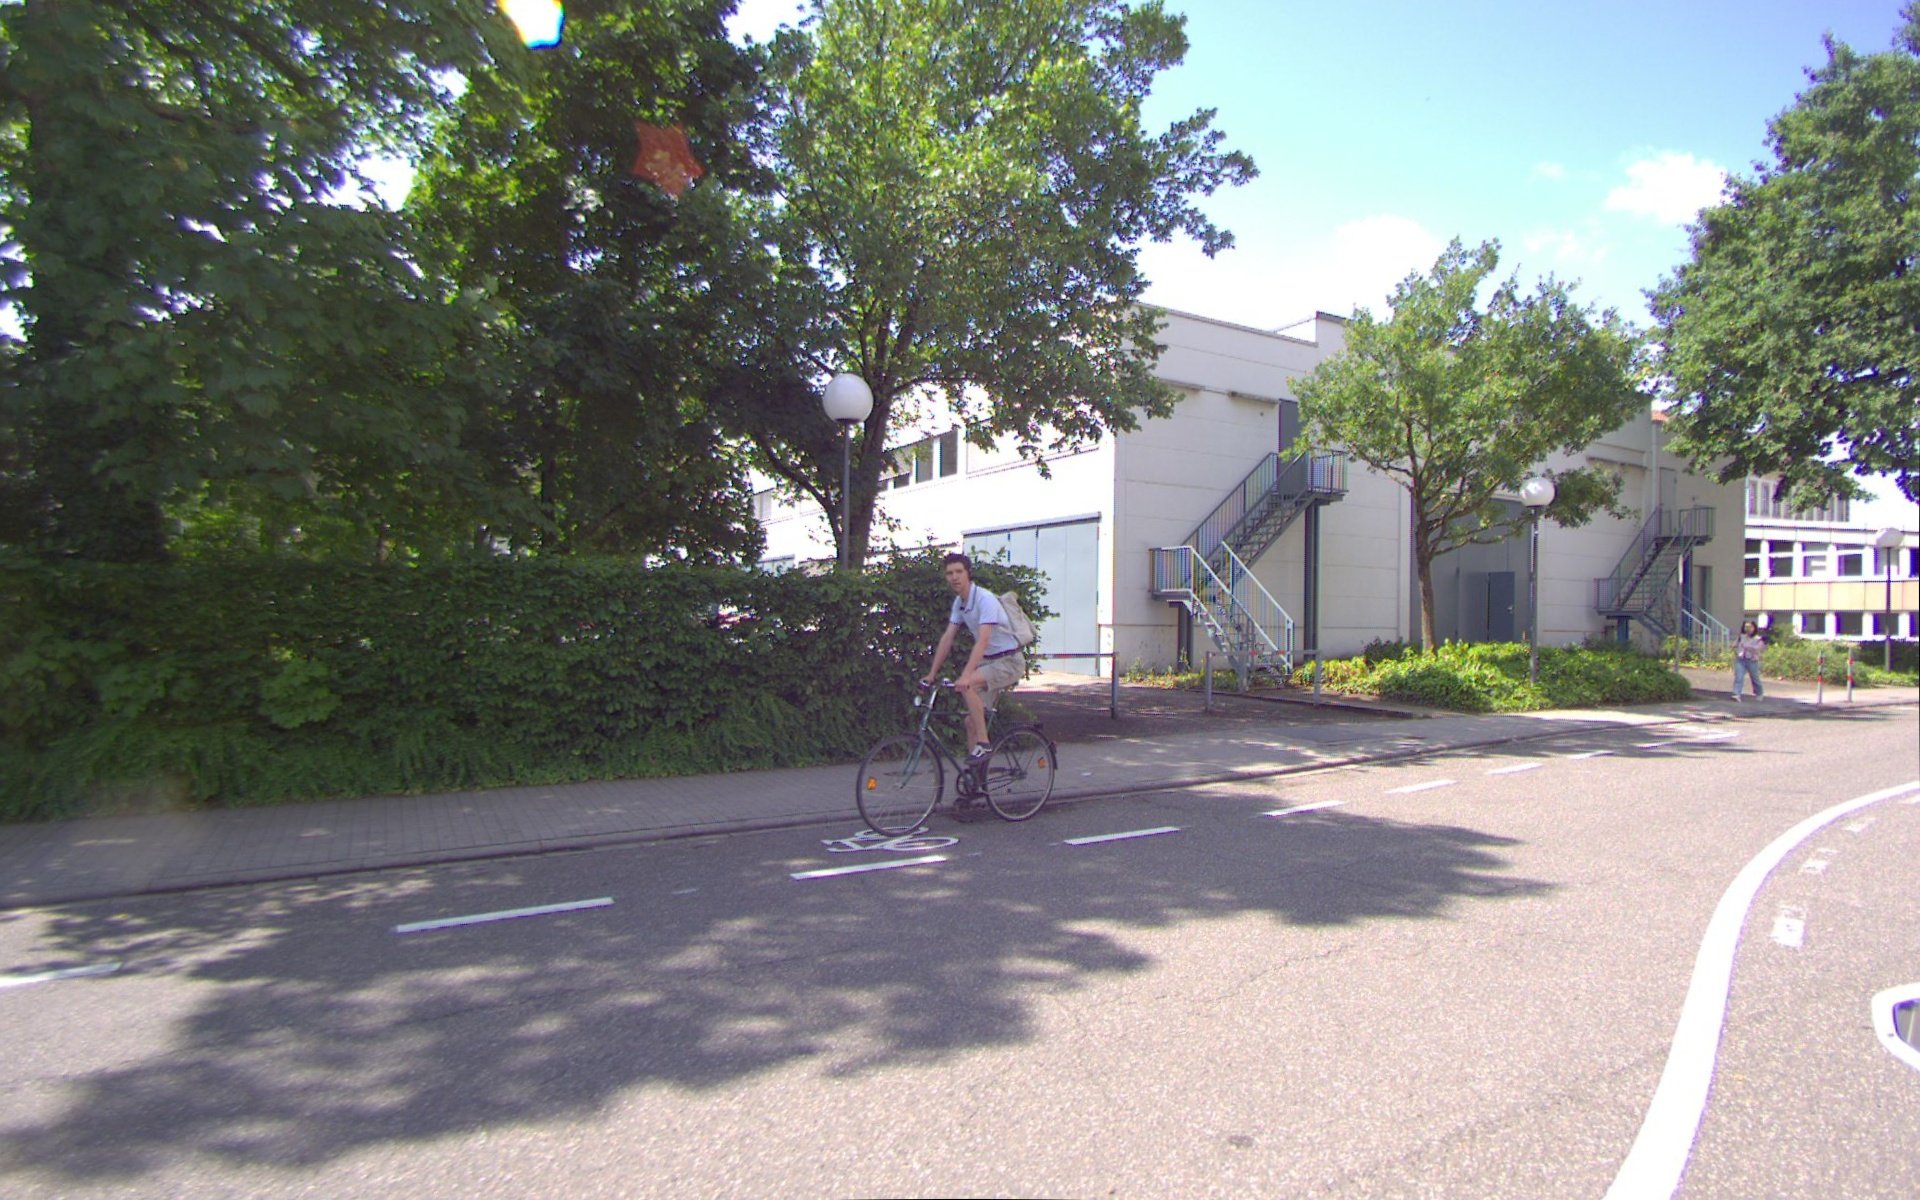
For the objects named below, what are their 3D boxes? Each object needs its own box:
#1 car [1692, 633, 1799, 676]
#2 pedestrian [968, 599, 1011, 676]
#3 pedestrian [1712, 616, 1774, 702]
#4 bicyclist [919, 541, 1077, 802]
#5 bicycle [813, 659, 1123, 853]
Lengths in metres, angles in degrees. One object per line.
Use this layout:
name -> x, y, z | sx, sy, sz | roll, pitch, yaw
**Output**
car -> 29.477, 2.010, 37.683 | 4.251, 1.486, 1.819 | 1, -1, -32
pedestrian -> 0.650, 0.817, 22.253 | 0.658, 1.670, 0.762 | 1, -1, -31
pedestrian -> 15.430, 1.142, 19.797 | 0.874, 1.648, 0.709 | 1, -1, -32
bicyclist -> 0.271, 0.498, 7.302 | 0.908, 1.759, 0.689 | 2, -1, -31
bicycle -> 0.101, 1.029, 7.186 | 2.184, 1.186, 0.689 | 2, -1, -31
